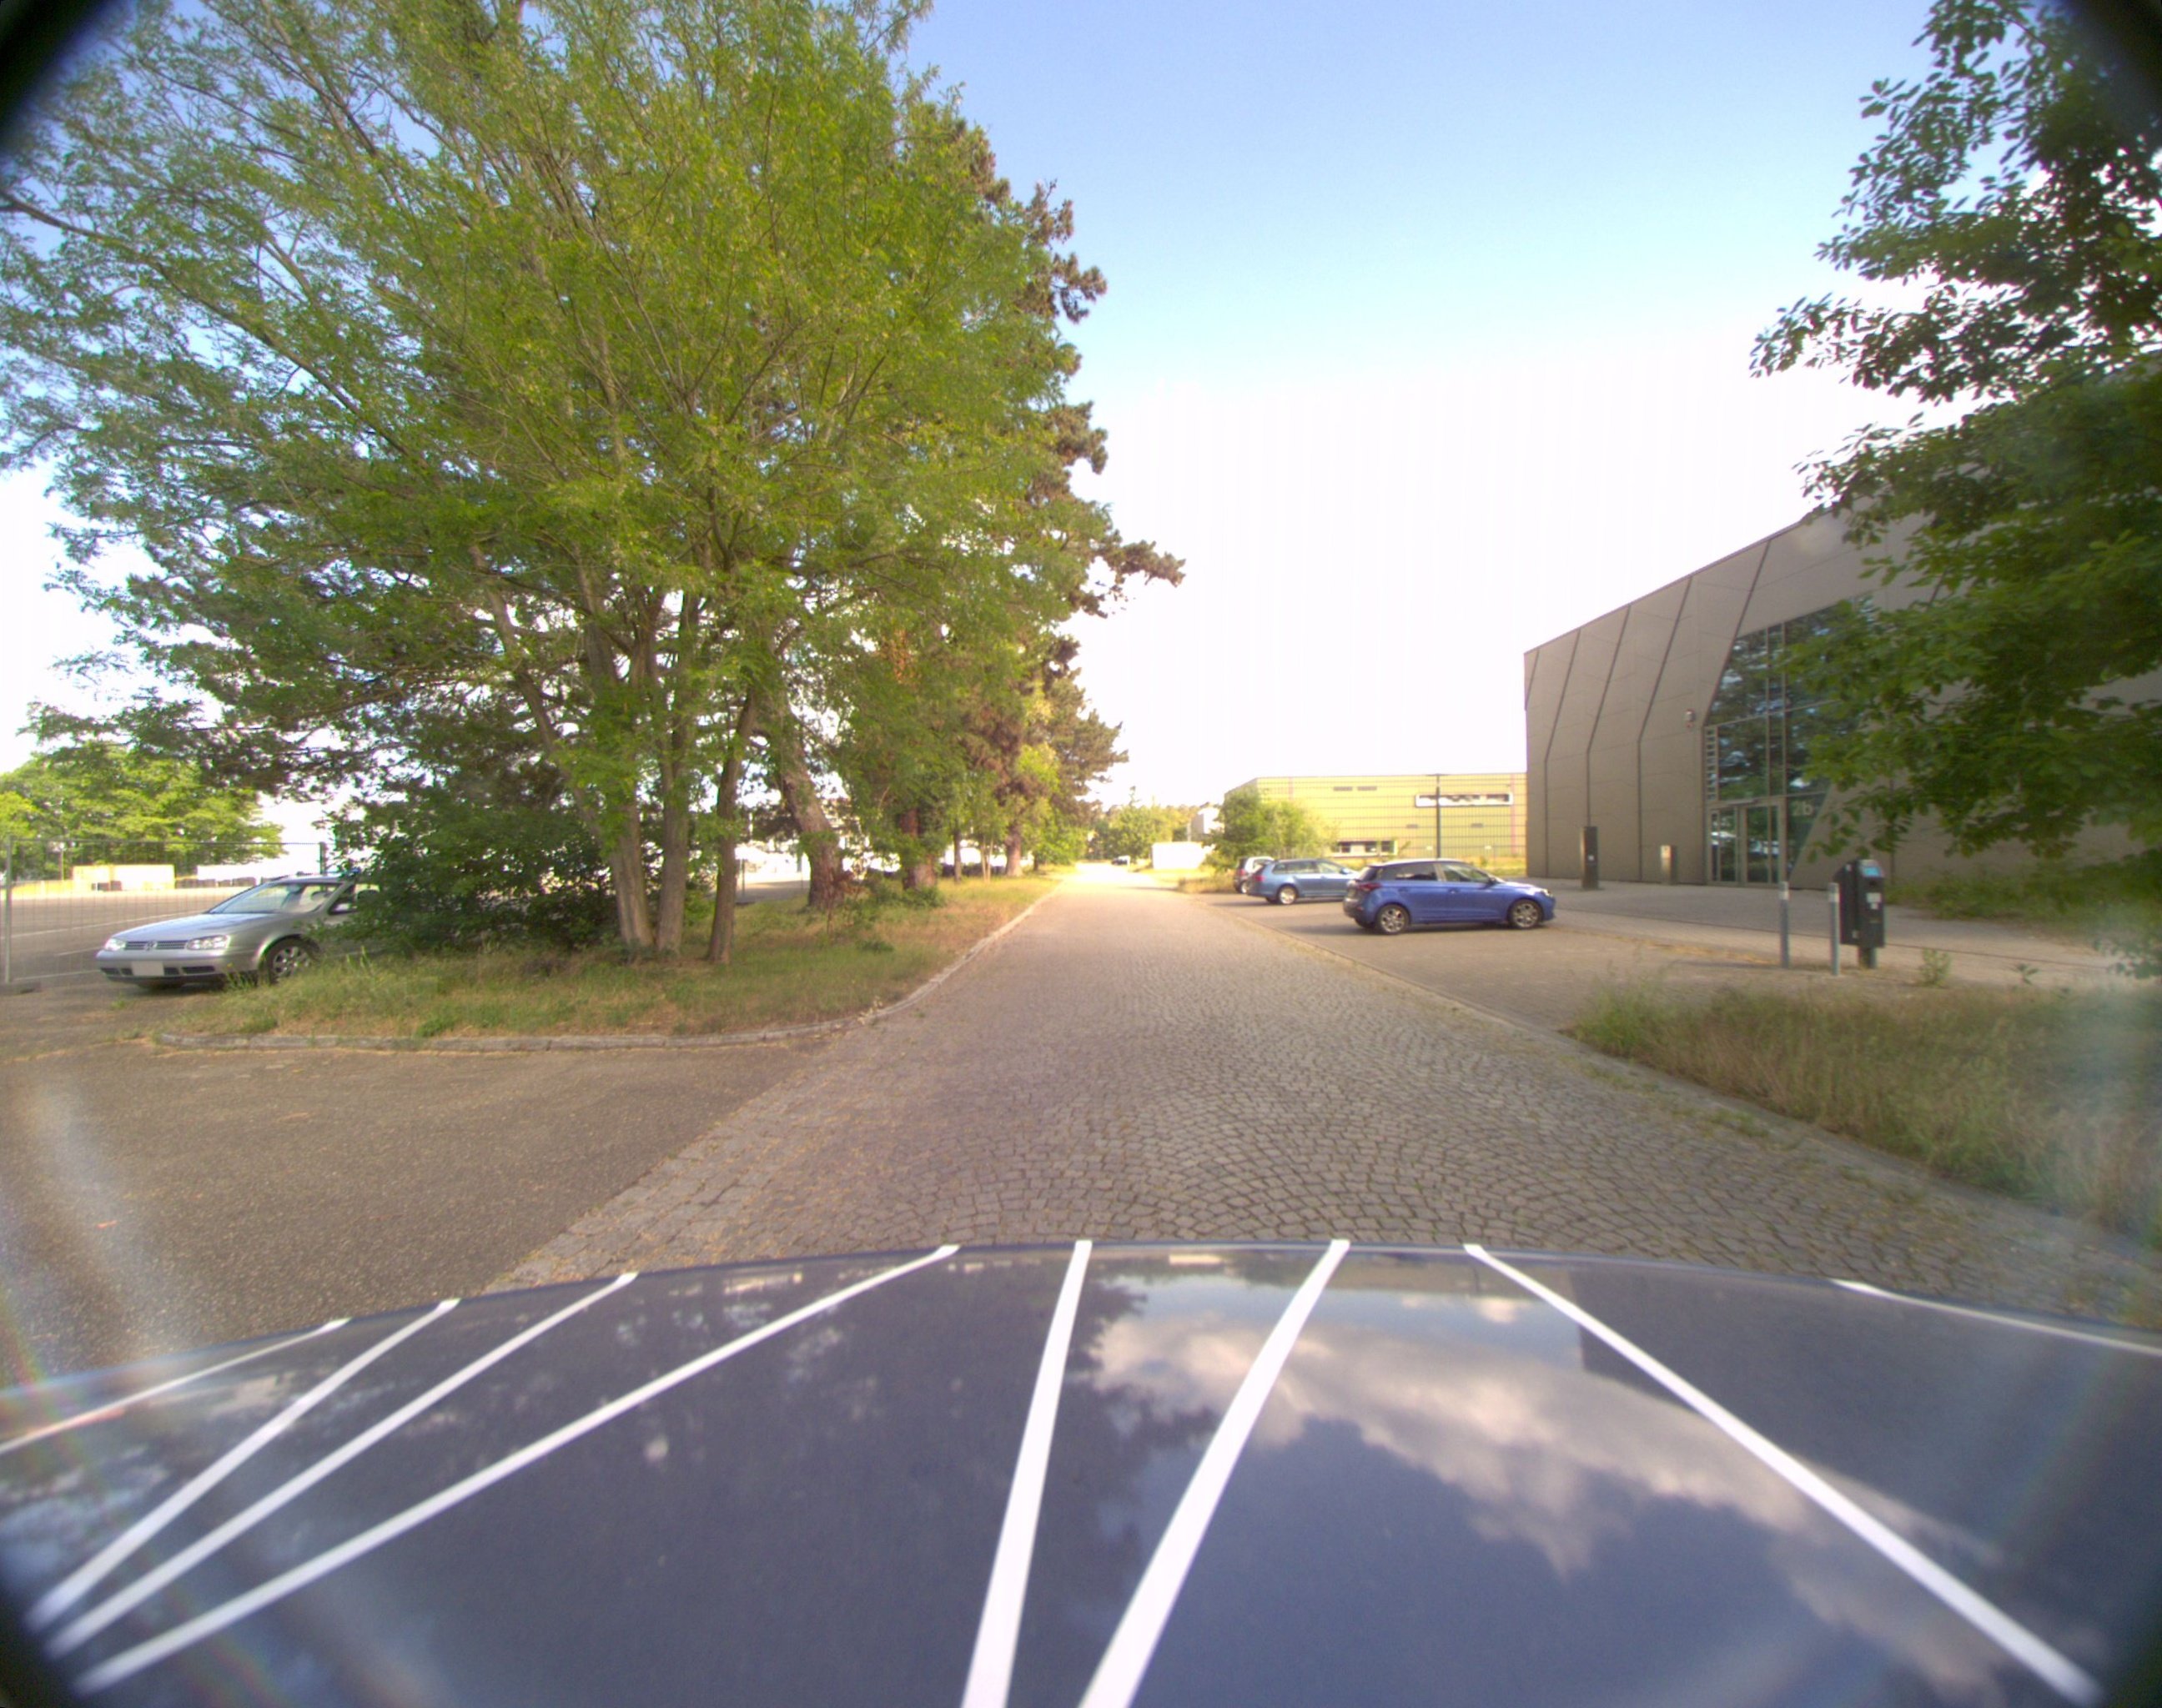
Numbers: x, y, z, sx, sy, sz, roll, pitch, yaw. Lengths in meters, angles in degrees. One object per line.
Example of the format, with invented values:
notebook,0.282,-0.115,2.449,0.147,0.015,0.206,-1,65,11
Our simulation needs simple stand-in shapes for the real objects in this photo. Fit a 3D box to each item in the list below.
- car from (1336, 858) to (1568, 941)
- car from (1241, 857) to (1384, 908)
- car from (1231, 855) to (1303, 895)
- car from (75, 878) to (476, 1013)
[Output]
car,7.527,0.903,15.722,3.917,1.459,1.735,-2,0,4
car,7.607,0.926,25.207,4.179,1.465,1.734,-2,0,-1
car,7.936,0.885,32.592,2.652,1.559,1.482,-2,0,0
car,-11.049,1.133,10.928,1.578,1.435,3.986,-1,0,-2
